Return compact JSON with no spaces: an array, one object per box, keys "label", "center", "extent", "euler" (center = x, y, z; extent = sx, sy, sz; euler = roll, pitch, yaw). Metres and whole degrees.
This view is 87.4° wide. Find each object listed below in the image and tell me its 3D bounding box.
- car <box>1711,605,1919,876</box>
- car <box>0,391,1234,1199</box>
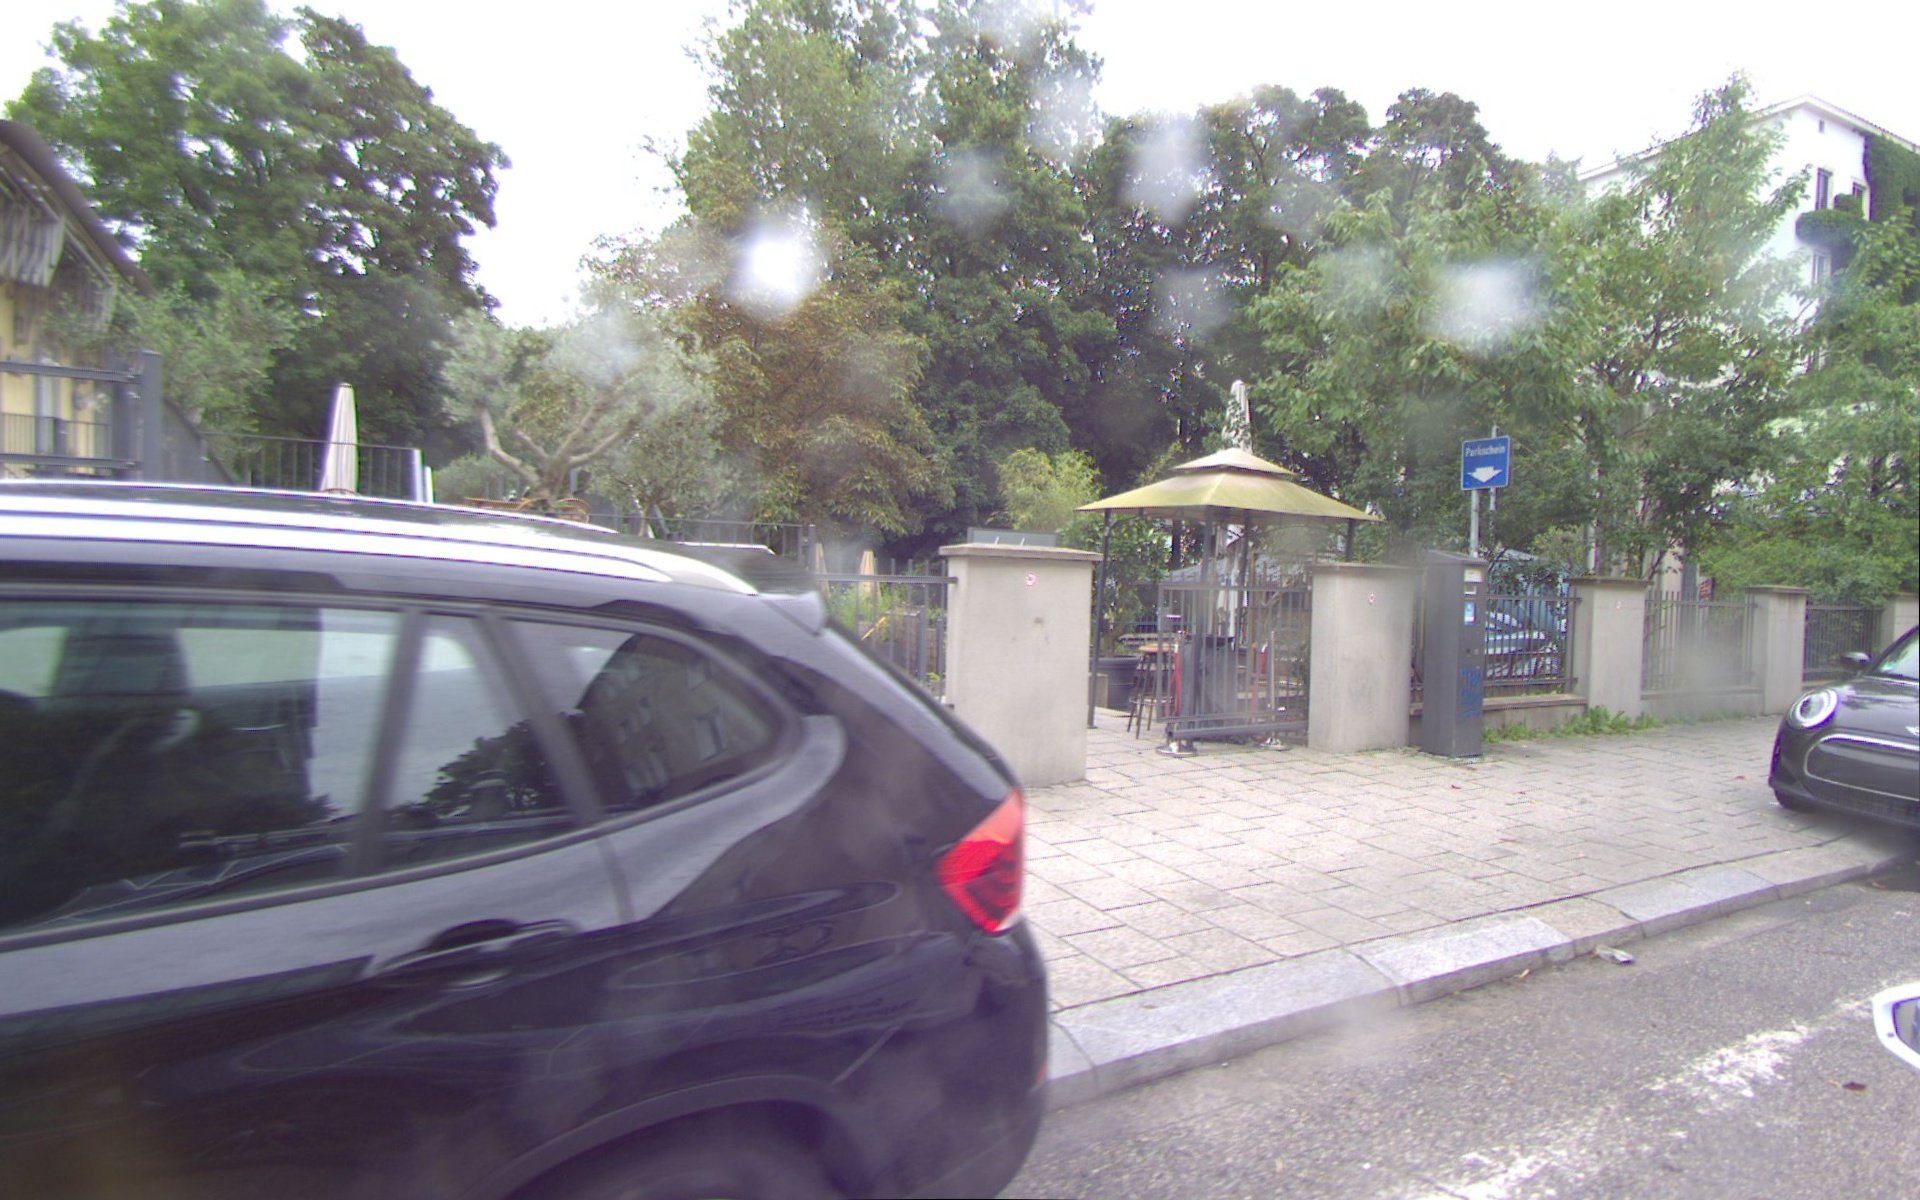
[{"label":"car","center":[7.287,0.846,6.936],"extent":[4.137,1.565,1.851],"euler":[1,0,-29]},{"label":"car","center":[-2.008,0.540,1.551],"extent":[4.684,1.629,1.837],"euler":[1,3,-29]}]
